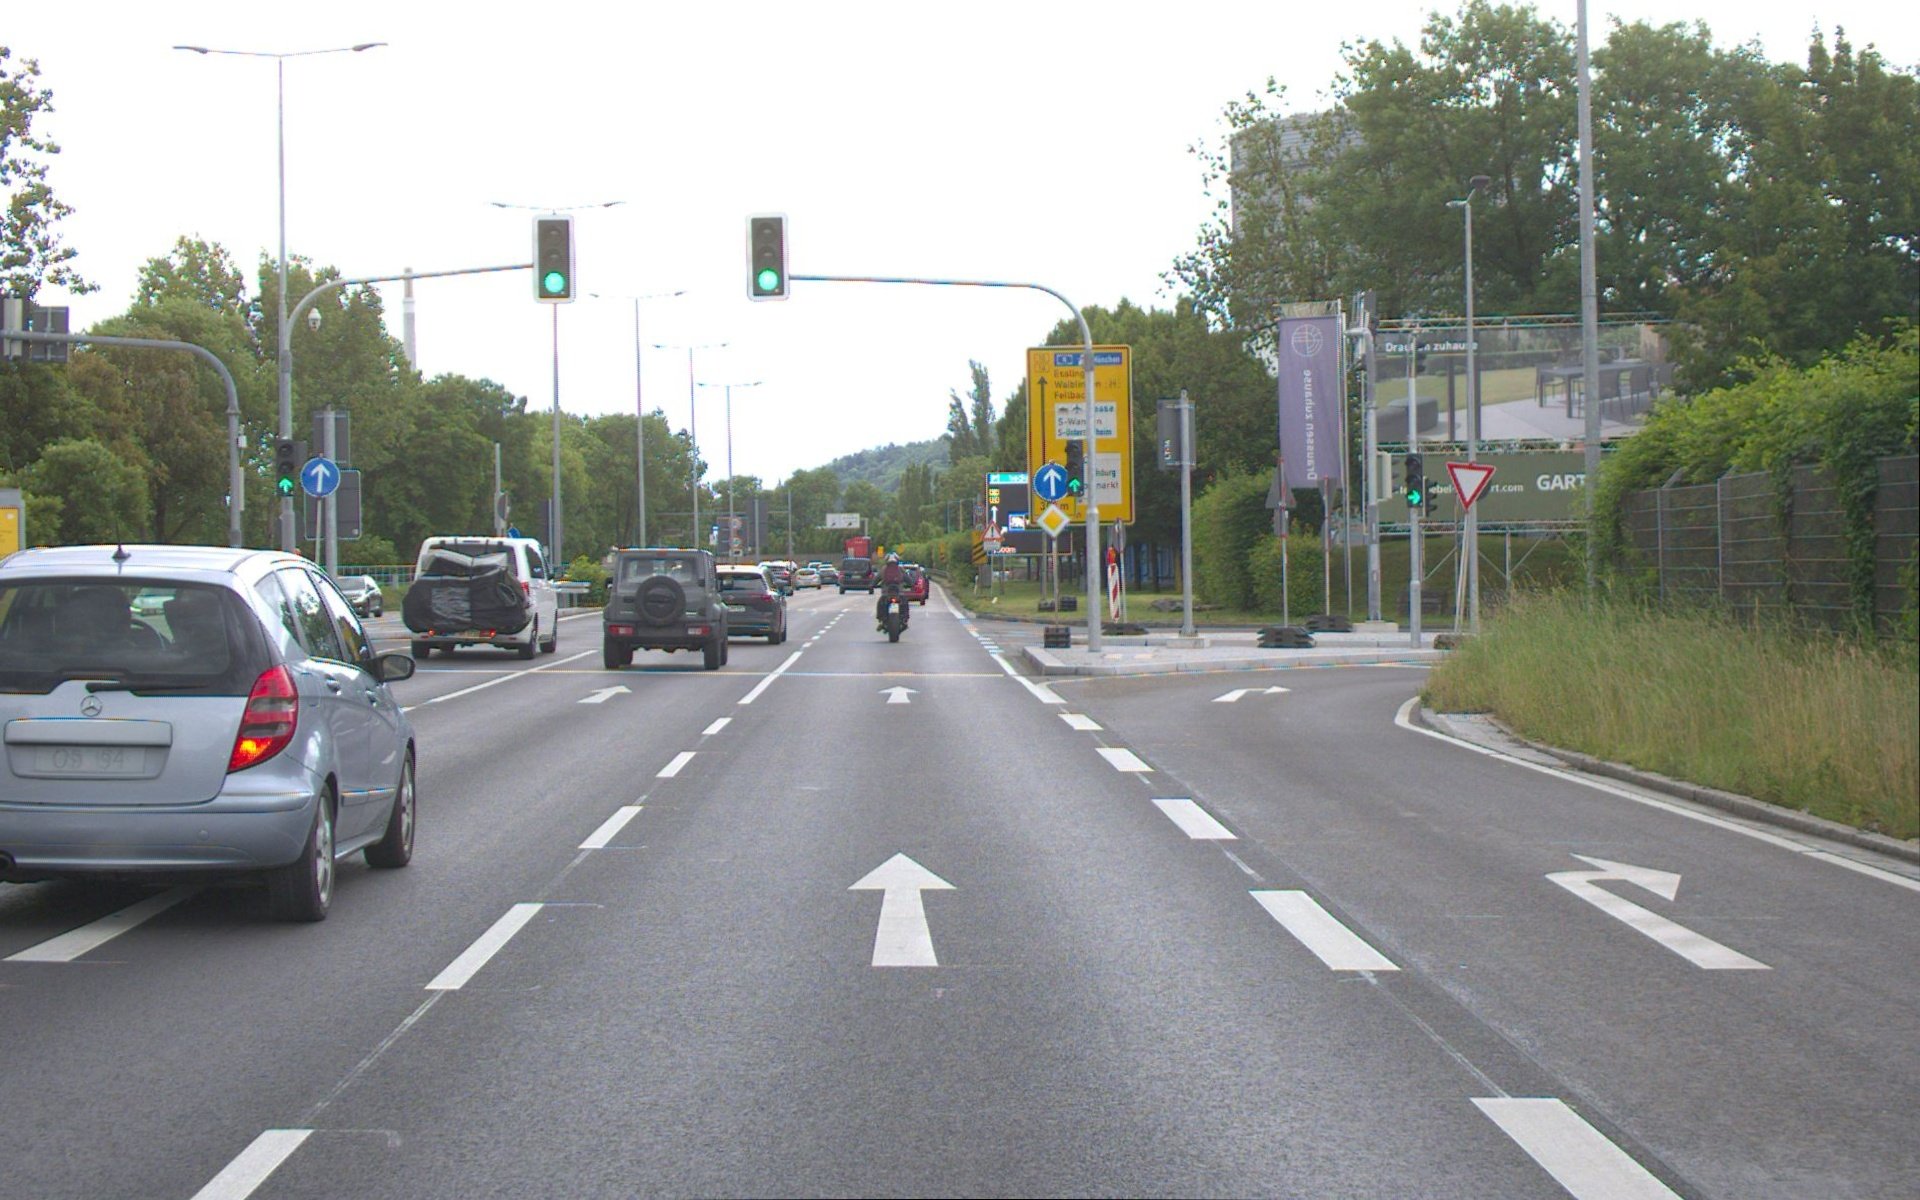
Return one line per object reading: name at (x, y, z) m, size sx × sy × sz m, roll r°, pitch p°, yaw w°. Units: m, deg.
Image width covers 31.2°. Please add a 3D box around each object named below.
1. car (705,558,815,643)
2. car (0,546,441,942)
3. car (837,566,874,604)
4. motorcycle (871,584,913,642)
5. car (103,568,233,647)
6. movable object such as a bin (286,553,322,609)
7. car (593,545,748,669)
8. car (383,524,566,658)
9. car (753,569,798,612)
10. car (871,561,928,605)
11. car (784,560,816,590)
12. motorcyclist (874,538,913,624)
car at (-3.652, -0.015, 63.380) m, size 1.840 × 1.459 × 4.000 m, roll 1°, pitch 1°, yaw -1°
car at (-3.476, 0.538, 15.563) m, size 1.710 × 1.525 × 4.000 m, roll 1°, pitch 1°, yaw -2°
car at (-5.809, -0.855, 191.551) m, size 1.993 × 2.007 × 4.000 m, roll 1°, pitch 1°, yaw -1°
motorcycle at (-1.284, 0.238, 65.297) m, size 0.706 × 1.036 × 2.027 m, roll 1°, pitch 1°, yaw 1°
car at (-18.008, 0.137, 78.342) m, size 1.993 × 1.679 × 4.412 m, roll 1°, pitch 1°, yaw -1°
movable object such as a bin at (-12.693, -0.371, 66.565) m, size 0.540 × 1.055 × 0.741 m, roll 1°, pitch 1°, yaw -1°
car at (-4.134, 0.071, 49.591) m, size 1.907 × 1.678 × 4.000 m, roll 1°, pitch 1°, yaw -1°
car at (-7.424, -0.162, 53.081) m, size 2.214 × 1.919 × 5.003 m, roll 1°, pitch 1°, yaw -2°
car at (-9.042, -0.497, 168.399) m, size 1.993 × 2.007 × 4.000 m, roll 1°, pitch 1°, yaw -1°
car at (-2.274, -0.645, 128.440) m, size 1.993 × 1.546 × 4.000 m, roll 1°, pitch 1°, yaw -2°
car at (-11.086, -1.761, 238.244) m, size 1.993 × 2.007 × 4.000 m, roll 1°, pitch 1°, yaw 0°
motorcyclist at (-1.263, -0.364, 65.271) m, size 0.685 × 1.604 × 0.845 m, roll 1°, pitch 1°, yaw 1°
